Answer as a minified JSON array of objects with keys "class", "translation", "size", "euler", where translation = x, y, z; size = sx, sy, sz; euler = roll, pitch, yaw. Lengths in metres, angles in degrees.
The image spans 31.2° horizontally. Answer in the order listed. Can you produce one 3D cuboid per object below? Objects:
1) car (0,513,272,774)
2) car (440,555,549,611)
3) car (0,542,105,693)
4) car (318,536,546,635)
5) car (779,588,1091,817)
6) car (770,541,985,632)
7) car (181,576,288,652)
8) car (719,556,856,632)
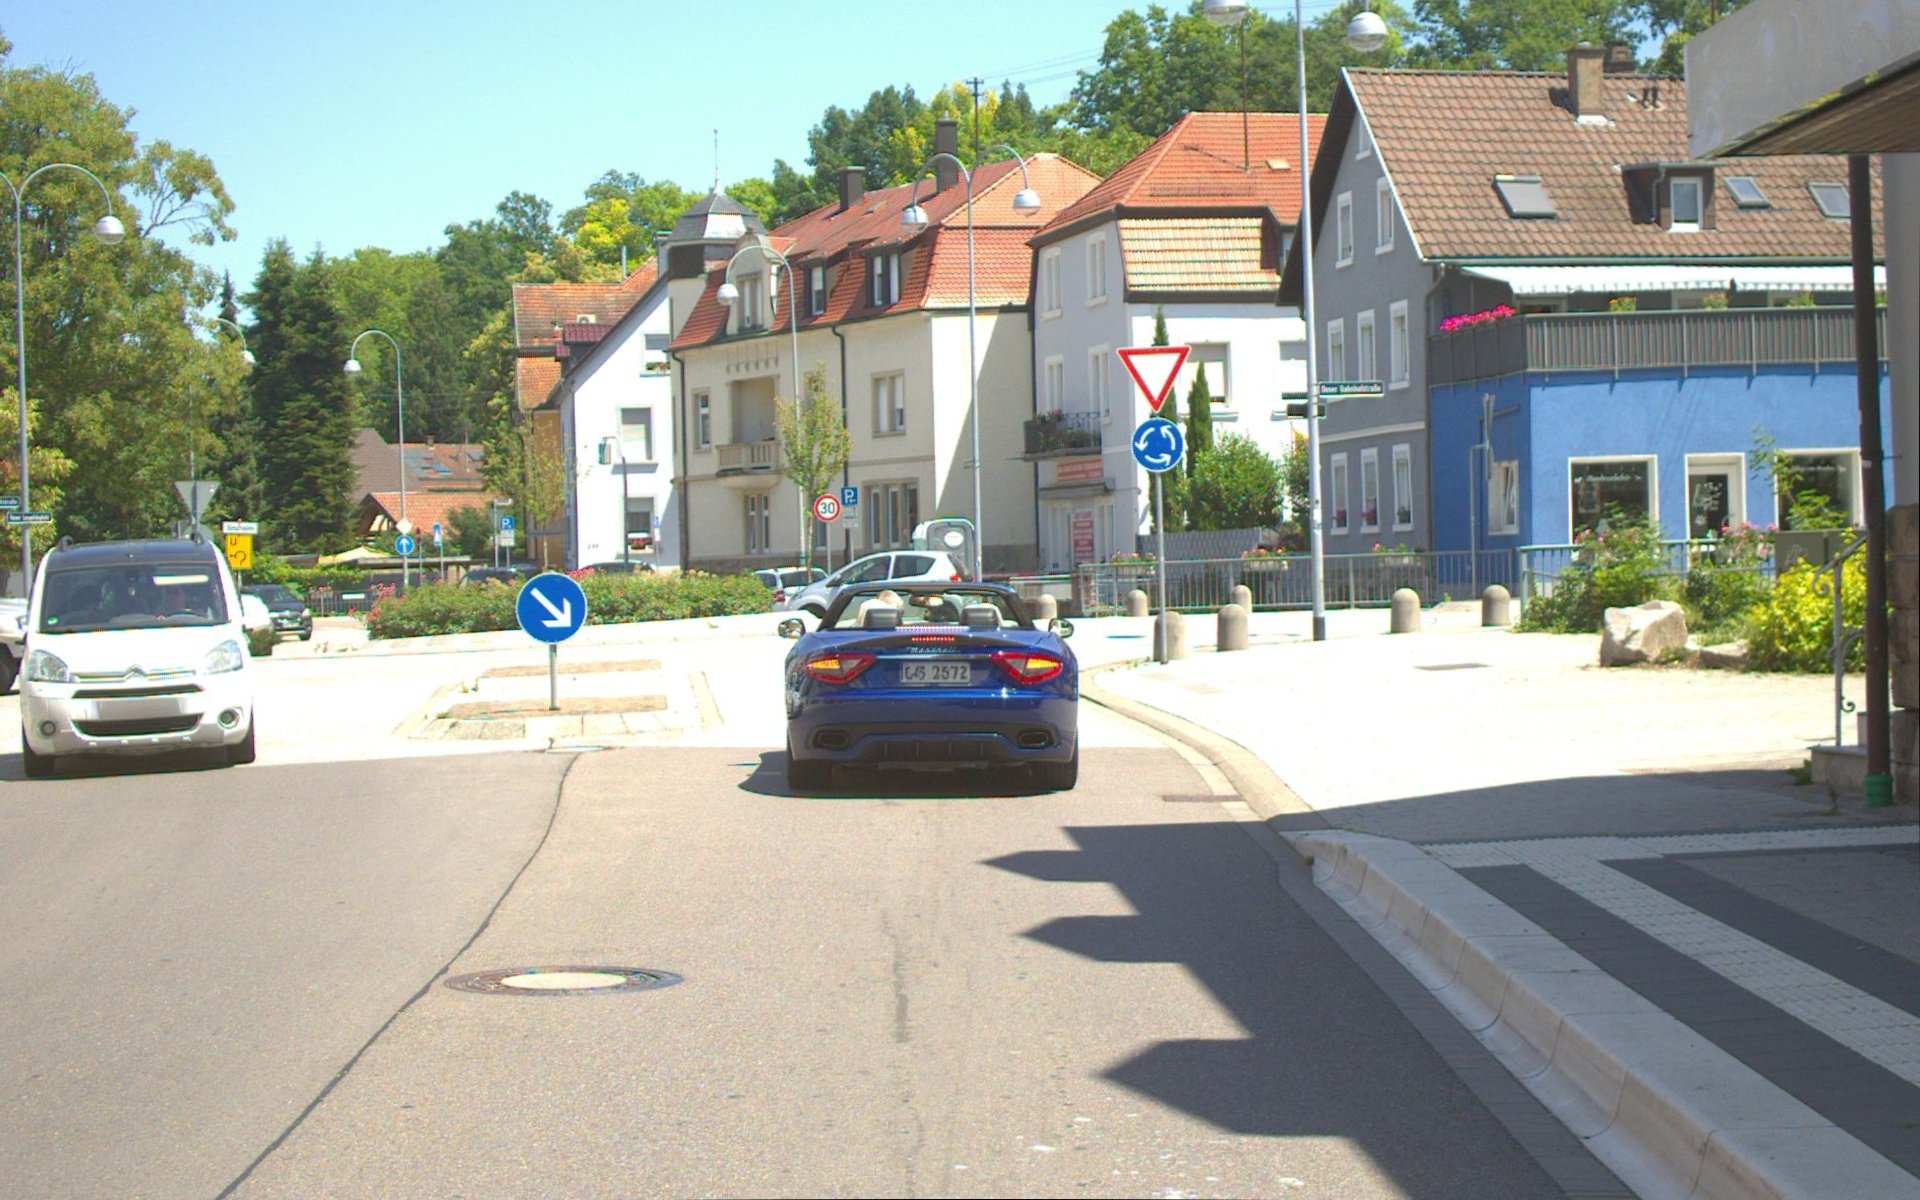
[{"class":"car","translation":[-6.577,0.302,27.478],"size":[1.993,1.816,4.416],"euler":[-3,1,-11]},{"class":"car","translation":[-14.518,-0.509,107.089],"size":[1.850,1.582,4.000],"euler":[-3,1,-32]},{"class":"car","translation":[-13.478,0.225,44.698],"size":[4.219,1.868,1.762],"euler":[0,2,15]},{"class":"car","translation":[-7.896,-0.198,51.134],"size":[1.993,1.325,4.201],"euler":[-3,1,-28]},{"class":"car","translation":[-0.170,0.626,23.368],"size":[1.910,1.356,4.286],"euler":[-1,1,0]},{"class":"car","translation":[-1.440,-0.246,60.774],"size":[3.461,1.445,1.579],"euler":[-2,1,13]},{"class":"car","translation":[-15.412,0.294,73.174],"size":[1.993,1.504,4.001],"euler":[-2,0,-9]},{"class":"car","translation":[-4.057,-0.132,80.123],"size":[1.918,1.607,4.148],"euler":[-2,0,-21]}]
